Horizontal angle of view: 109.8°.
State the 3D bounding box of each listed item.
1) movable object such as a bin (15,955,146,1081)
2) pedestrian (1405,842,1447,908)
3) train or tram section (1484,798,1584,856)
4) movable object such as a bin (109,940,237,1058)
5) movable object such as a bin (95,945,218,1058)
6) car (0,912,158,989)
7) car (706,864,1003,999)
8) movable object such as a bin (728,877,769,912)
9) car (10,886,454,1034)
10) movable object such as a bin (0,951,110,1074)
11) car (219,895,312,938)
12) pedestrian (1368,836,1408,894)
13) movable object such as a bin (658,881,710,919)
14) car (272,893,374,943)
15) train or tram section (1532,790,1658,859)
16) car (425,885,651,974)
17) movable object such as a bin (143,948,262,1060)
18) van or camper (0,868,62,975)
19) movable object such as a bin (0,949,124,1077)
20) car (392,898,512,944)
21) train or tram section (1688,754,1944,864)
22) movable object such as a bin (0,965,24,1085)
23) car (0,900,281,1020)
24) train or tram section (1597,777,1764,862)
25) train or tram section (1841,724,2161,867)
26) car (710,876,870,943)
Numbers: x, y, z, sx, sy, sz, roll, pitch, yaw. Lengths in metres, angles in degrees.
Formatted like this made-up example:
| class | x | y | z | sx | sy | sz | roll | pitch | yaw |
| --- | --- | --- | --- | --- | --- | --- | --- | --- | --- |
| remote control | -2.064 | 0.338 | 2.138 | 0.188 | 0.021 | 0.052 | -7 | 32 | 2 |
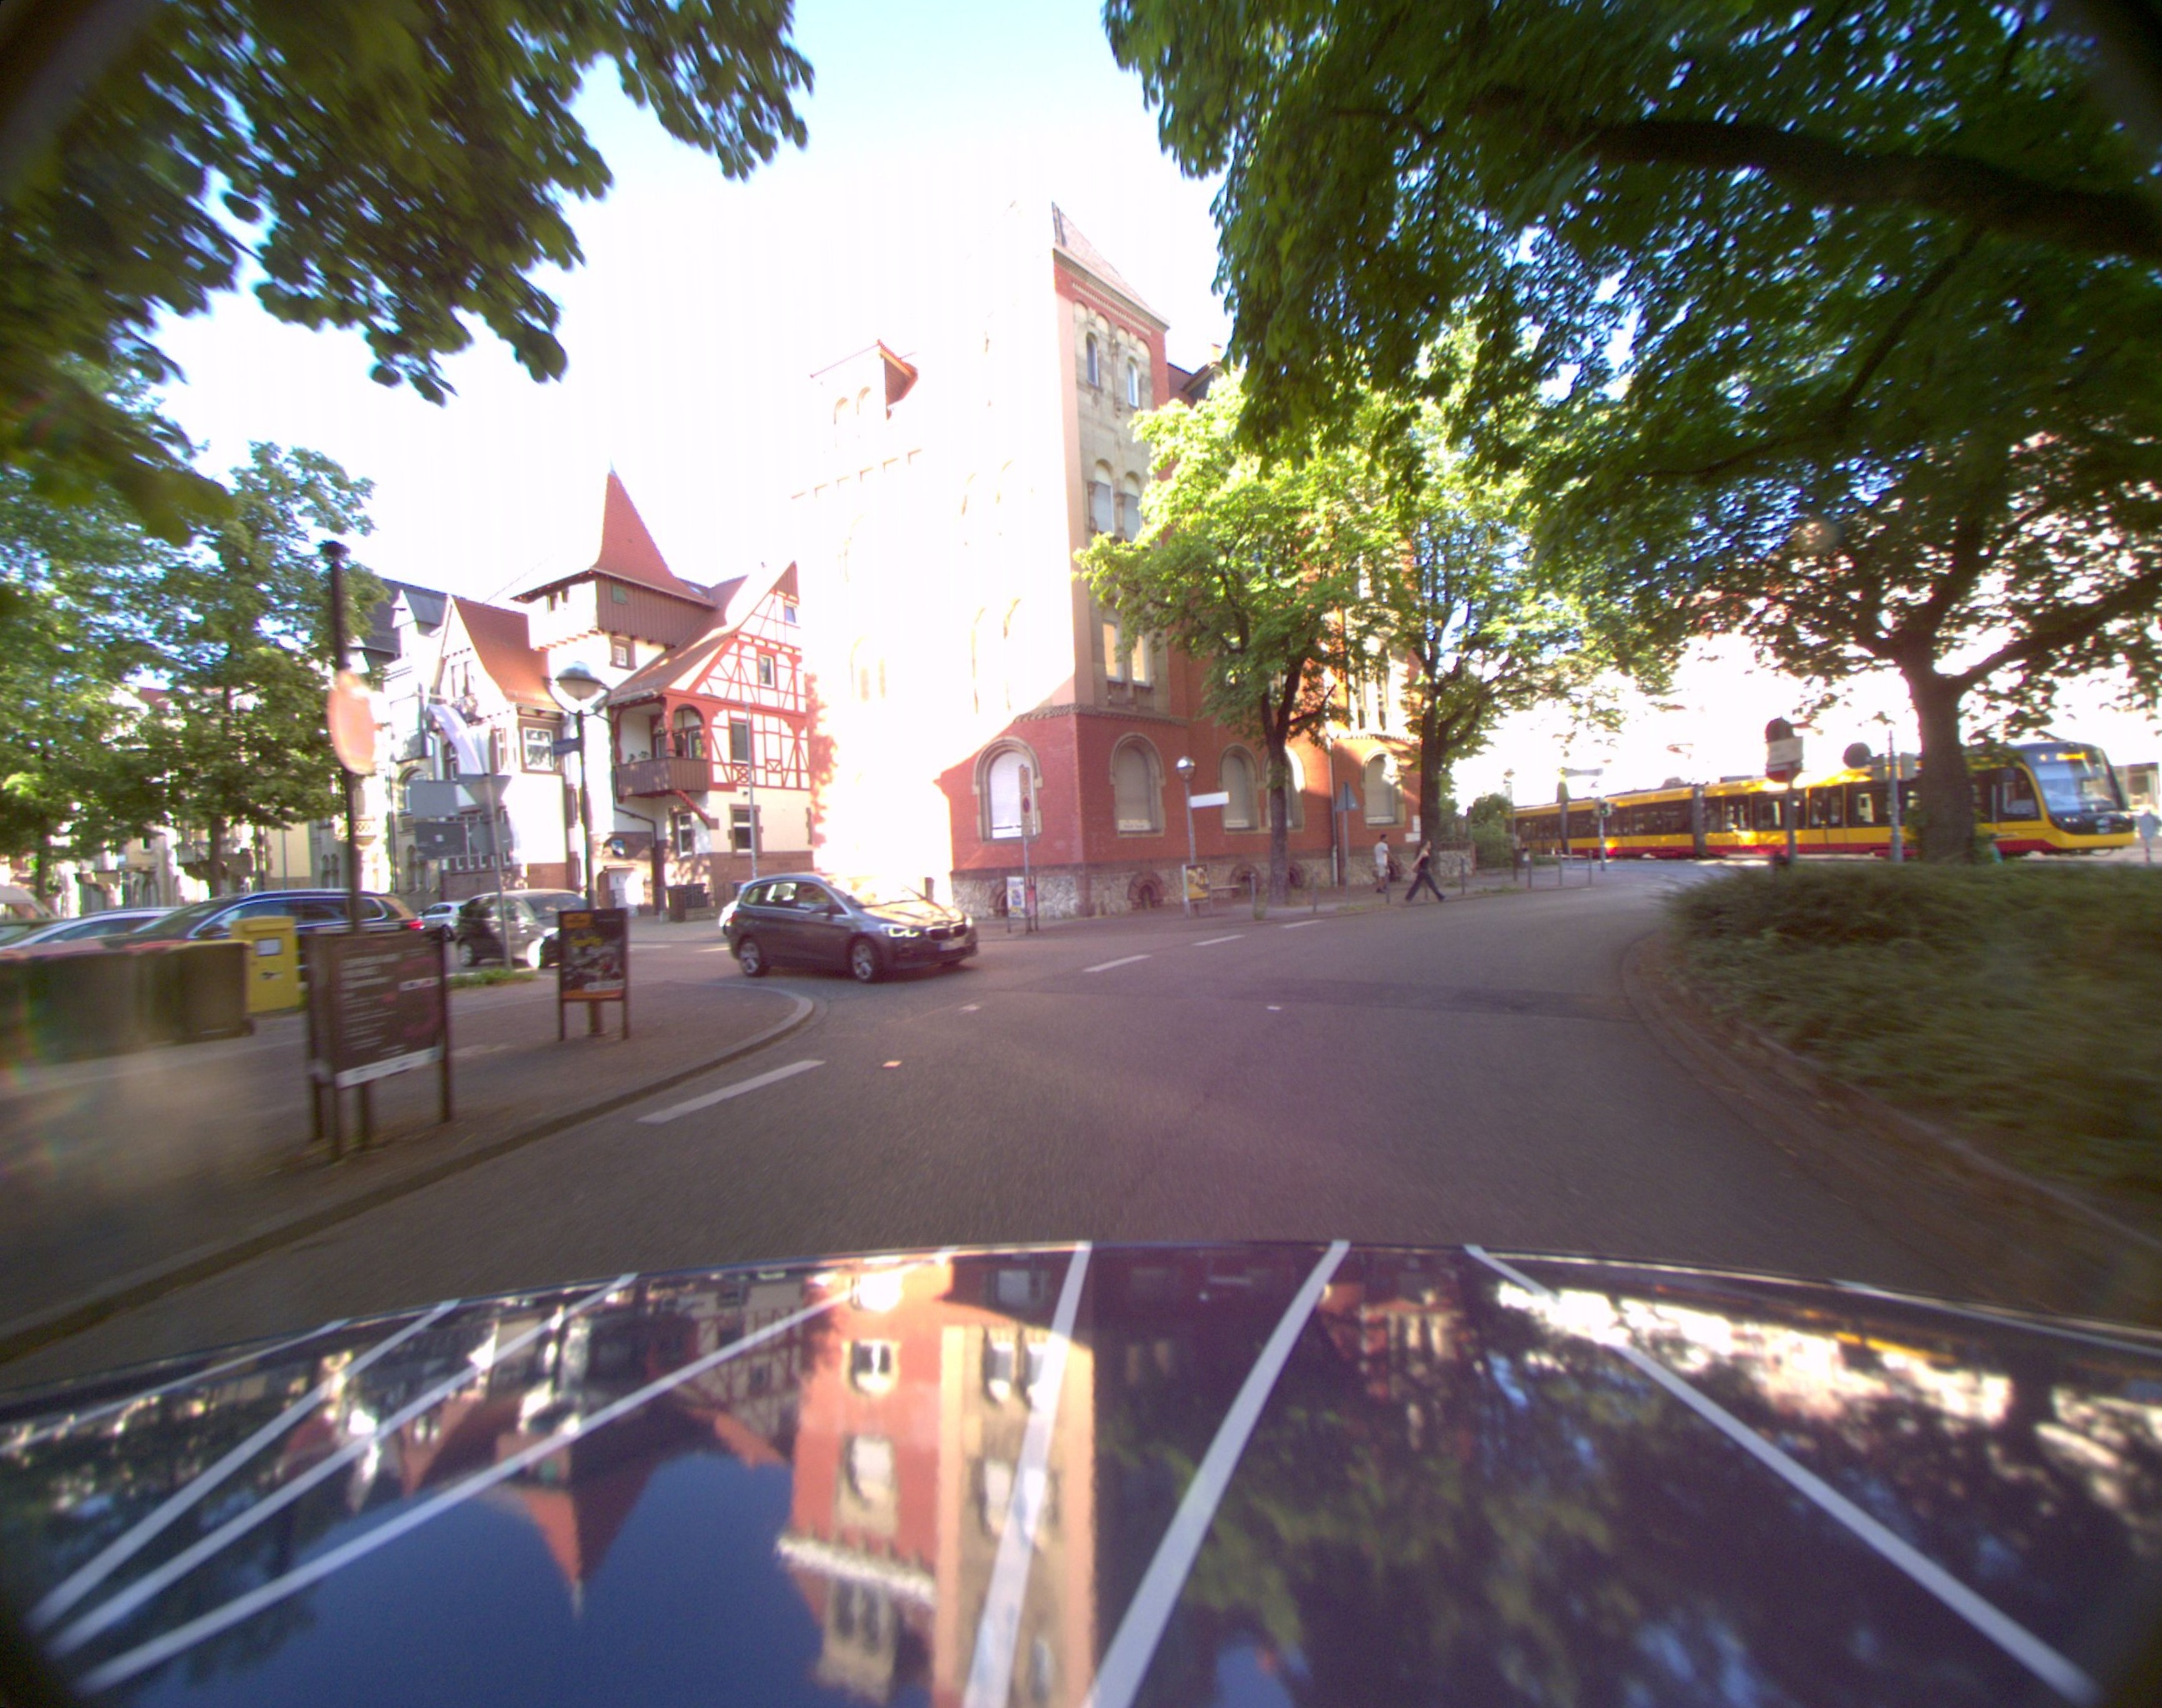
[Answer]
| class | x | y | z | sx | sy | sz | roll | pitch | yaw |
| --- | --- | --- | --- | --- | --- | --- | --- | --- | --- |
| movable object such as a bin | -9.783 | 1.572 | 7.438 | 0.704 | 1.069 | 0.631 | -3 | 0 | 28 |
| pedestrian | 8.672 | 0.532 | 19.109 | 0.853 | 1.595 | 0.602 | -3 | 0 | 19 |
| train or tram section | 30.639 | -1.797 | 51.816 | 2.970 | 3.487 | 7.191 | -4 | 1 | 6 |
| movable object such as a bin | -10.114 | 1.582 | 8.471 | 0.700 | 1.146 | 0.741 | -3 | 0 | 28 |
| movable object such as a bin | -10.773 | 1.689 | 8.862 | 0.714 | 1.146 | 0.741 | -3 | 0 | 28 |
| car | -24.071 | 2.228 | 17.290 | 1.674 | 1.496 | 3.608 | -4 | -2 | 28 |
| car | -3.614 | 1.099 | 11.826 | 4.505 | 1.597 | 1.928 | -3 | 3 | 35 |
| movable object such as a bin | -13.502 | 1.635 | 30.881 | 0.685 | 1.310 | 1.386 | -3 | 1 | 21 |
| car | -12.776 | 1.474 | 11.816 | 2.019 | 1.702 | 4.126 | -4 | -2 | 23 |
| movable object such as a bin | -11.102 | 1.664 | 8.120 | 0.700 | 1.146 | 0.741 | -3 | 0 | 28 |
| car | -39.001 | 2.998 | 36.335 | 4.530 | 1.841 | 1.778 | -3 | 1 | 28 |
| pedestrian | 8.953 | 0.319 | 22.166 | 0.859 | 1.633 | 0.870 | -3 | 0 | 11 |
| movable object such as a bin | -14.879 | 1.724 | 28.494 | 0.966 | 1.291 | 1.383 | -3 | 1 | 37 |
| car | -32.907 | 2.783 | 32.973 | 4.314 | 1.896 | 1.807 | -3 | 2 | 28 |
| train or tram section | 29.868 | -1.651 | 44.622 | 2.936 | 3.570 | 7.191 | -4 | 1 | 6 |
| car | -11.841 | 1.641 | 16.585 | 4.252 | 1.584 | 2.002 | -4 | 2 | 24 |
| movable object such as a bin | -9.463 | 1.586 | 8.190 | 0.693 | 1.058 | 0.660 | -3 | 0 | 28 |
| van or camper | -33.658 | 2.089 | 20.381 | 2.459 | 3.059 | 7.111 | -3 | 0 | 25 |
| movable object such as a bin | -10.445 | 1.591 | 7.774 | 0.700 | 1.146 | 0.635 | -3 | 1 | 28 |
| car | -23.122 | 2.466 | 27.936 | 4.093 | 1.458 | 1.752 | -3 | 1 | 25 |
| train or tram section | 28.348 | -1.550 | 29.992 | 2.918 | 3.593 | 7.863 | -3 | 0 | 6 |
| movable object such as a bin | -10.294 | 1.596 | 6.945 | 0.672 | 1.077 | 0.594 | -3 | 0 | 27 |
| car | -17.110 | 1.798 | 13.455 | 1.700 | 1.641 | 3.712 | -3 | 0 | 31 |
| train or tram section | 29.132 | -1.557 | 37.462 | 2.931 | 3.578 | 7.192 | -4 | 0 | 6 |
| train or tram section | 27.675 | -1.546 | 23.176 | 2.919 | 3.619 | 6.350 | -3 | 0 | 6 |
| car | -7.624 | 1.441 | 19.877 | 3.788 | 1.477 | 1.713 | -3 | 2 | 28 |
